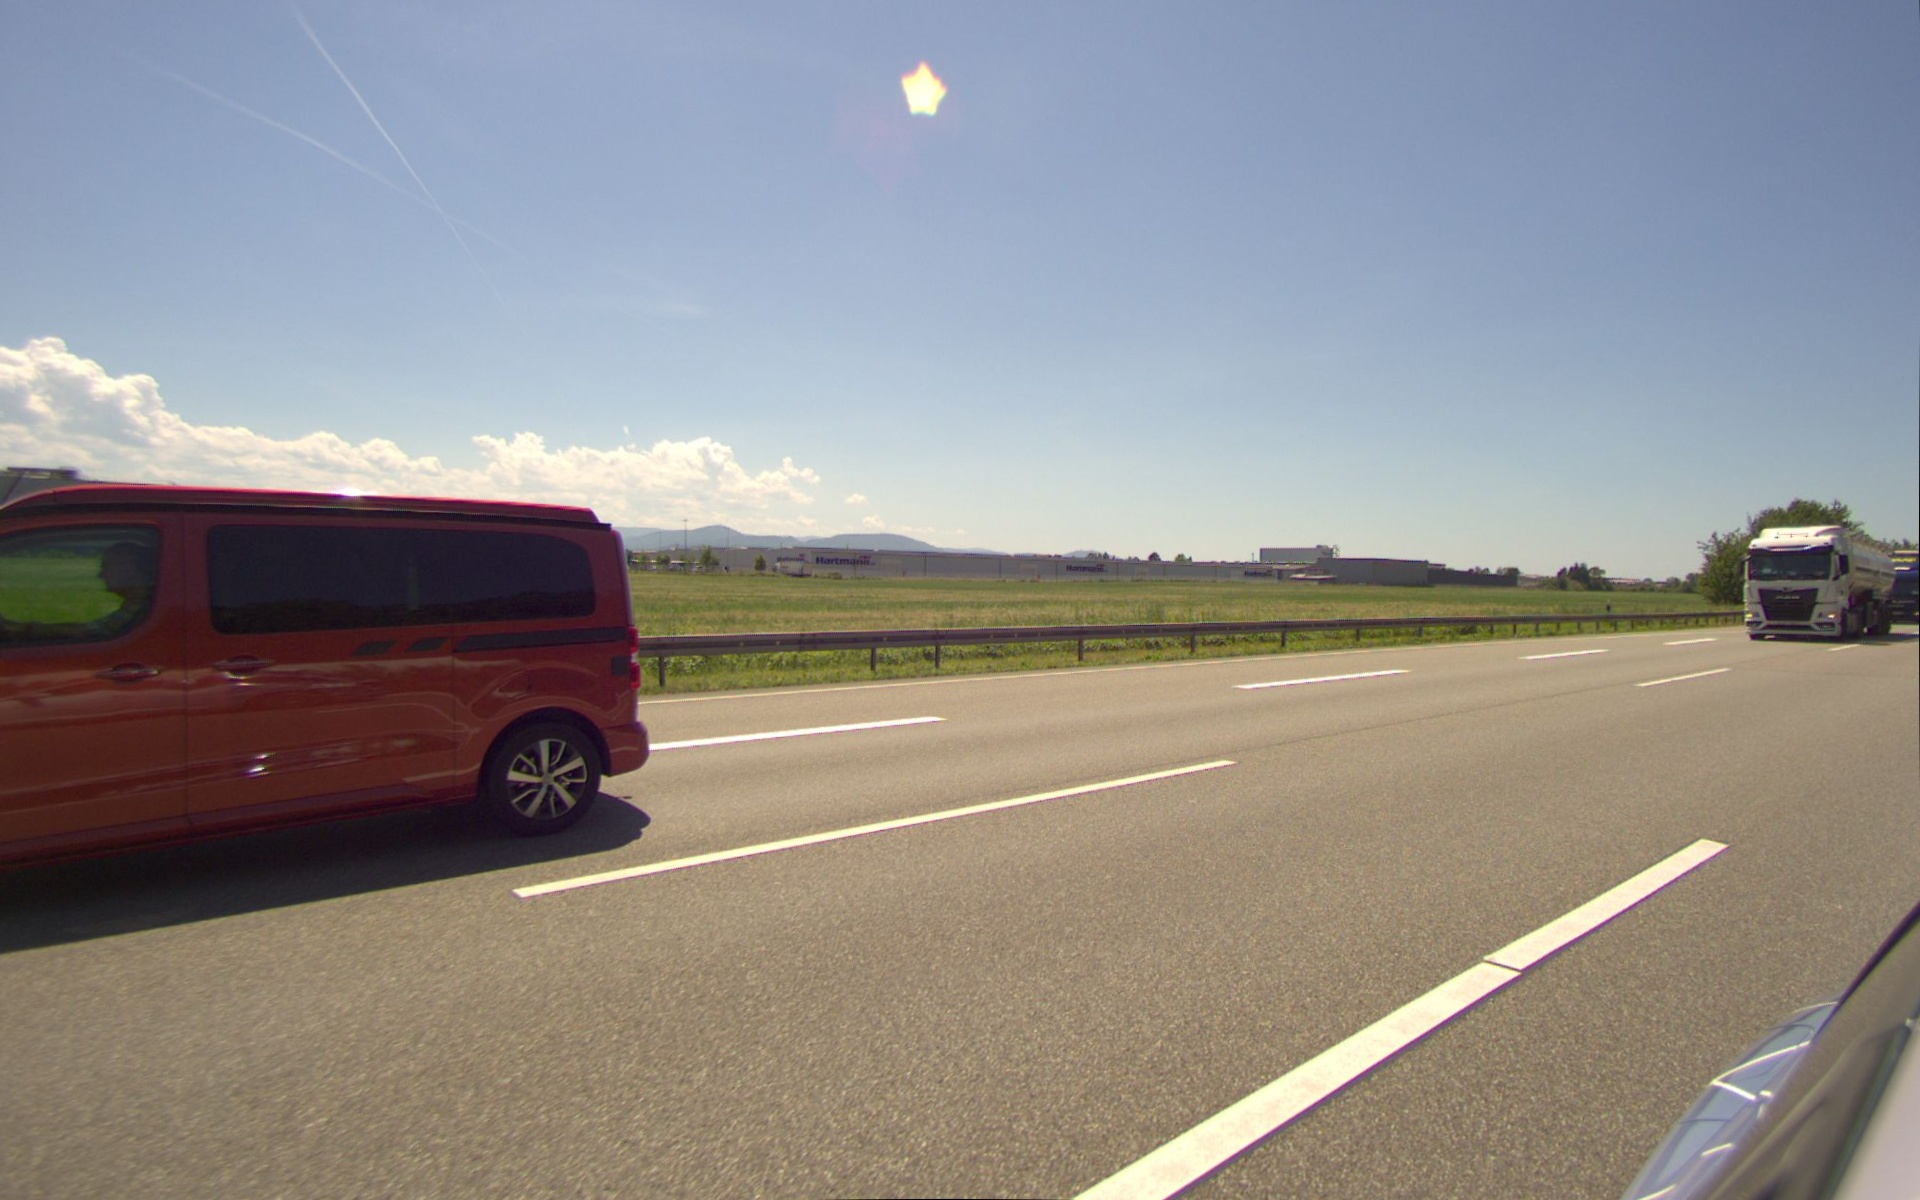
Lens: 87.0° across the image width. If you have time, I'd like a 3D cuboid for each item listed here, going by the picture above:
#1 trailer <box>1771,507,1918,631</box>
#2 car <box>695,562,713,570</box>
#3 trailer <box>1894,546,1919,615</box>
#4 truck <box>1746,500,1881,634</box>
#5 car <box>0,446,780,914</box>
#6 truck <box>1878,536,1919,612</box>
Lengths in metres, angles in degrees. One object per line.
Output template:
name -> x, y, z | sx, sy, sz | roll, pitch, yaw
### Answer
trailer -> 35.005, -1.135, 39.807 | 12.138, 4.257, 2.795 | 0, 1, -41
car -> -63.508, -8.438, 250.707 | 3.925, 2.039, 1.874 | 0, 1, -36
trailer -> 62.920, -1.206, 65.321 | 10.621, 4.257, 2.795 | 0, 1, -42
truck -> 29.428, -1.090, 34.848 | 4.913, 4.257, 2.795 | 0, 1, -41
car -> -3.877, 0.333, 5.869 | 5.425, 2.028, 1.859 | 0, 0, -41
truck -> 56.914, -1.469, 59.864 | 10.622, 4.257, 2.794 | 0, 1, -42
